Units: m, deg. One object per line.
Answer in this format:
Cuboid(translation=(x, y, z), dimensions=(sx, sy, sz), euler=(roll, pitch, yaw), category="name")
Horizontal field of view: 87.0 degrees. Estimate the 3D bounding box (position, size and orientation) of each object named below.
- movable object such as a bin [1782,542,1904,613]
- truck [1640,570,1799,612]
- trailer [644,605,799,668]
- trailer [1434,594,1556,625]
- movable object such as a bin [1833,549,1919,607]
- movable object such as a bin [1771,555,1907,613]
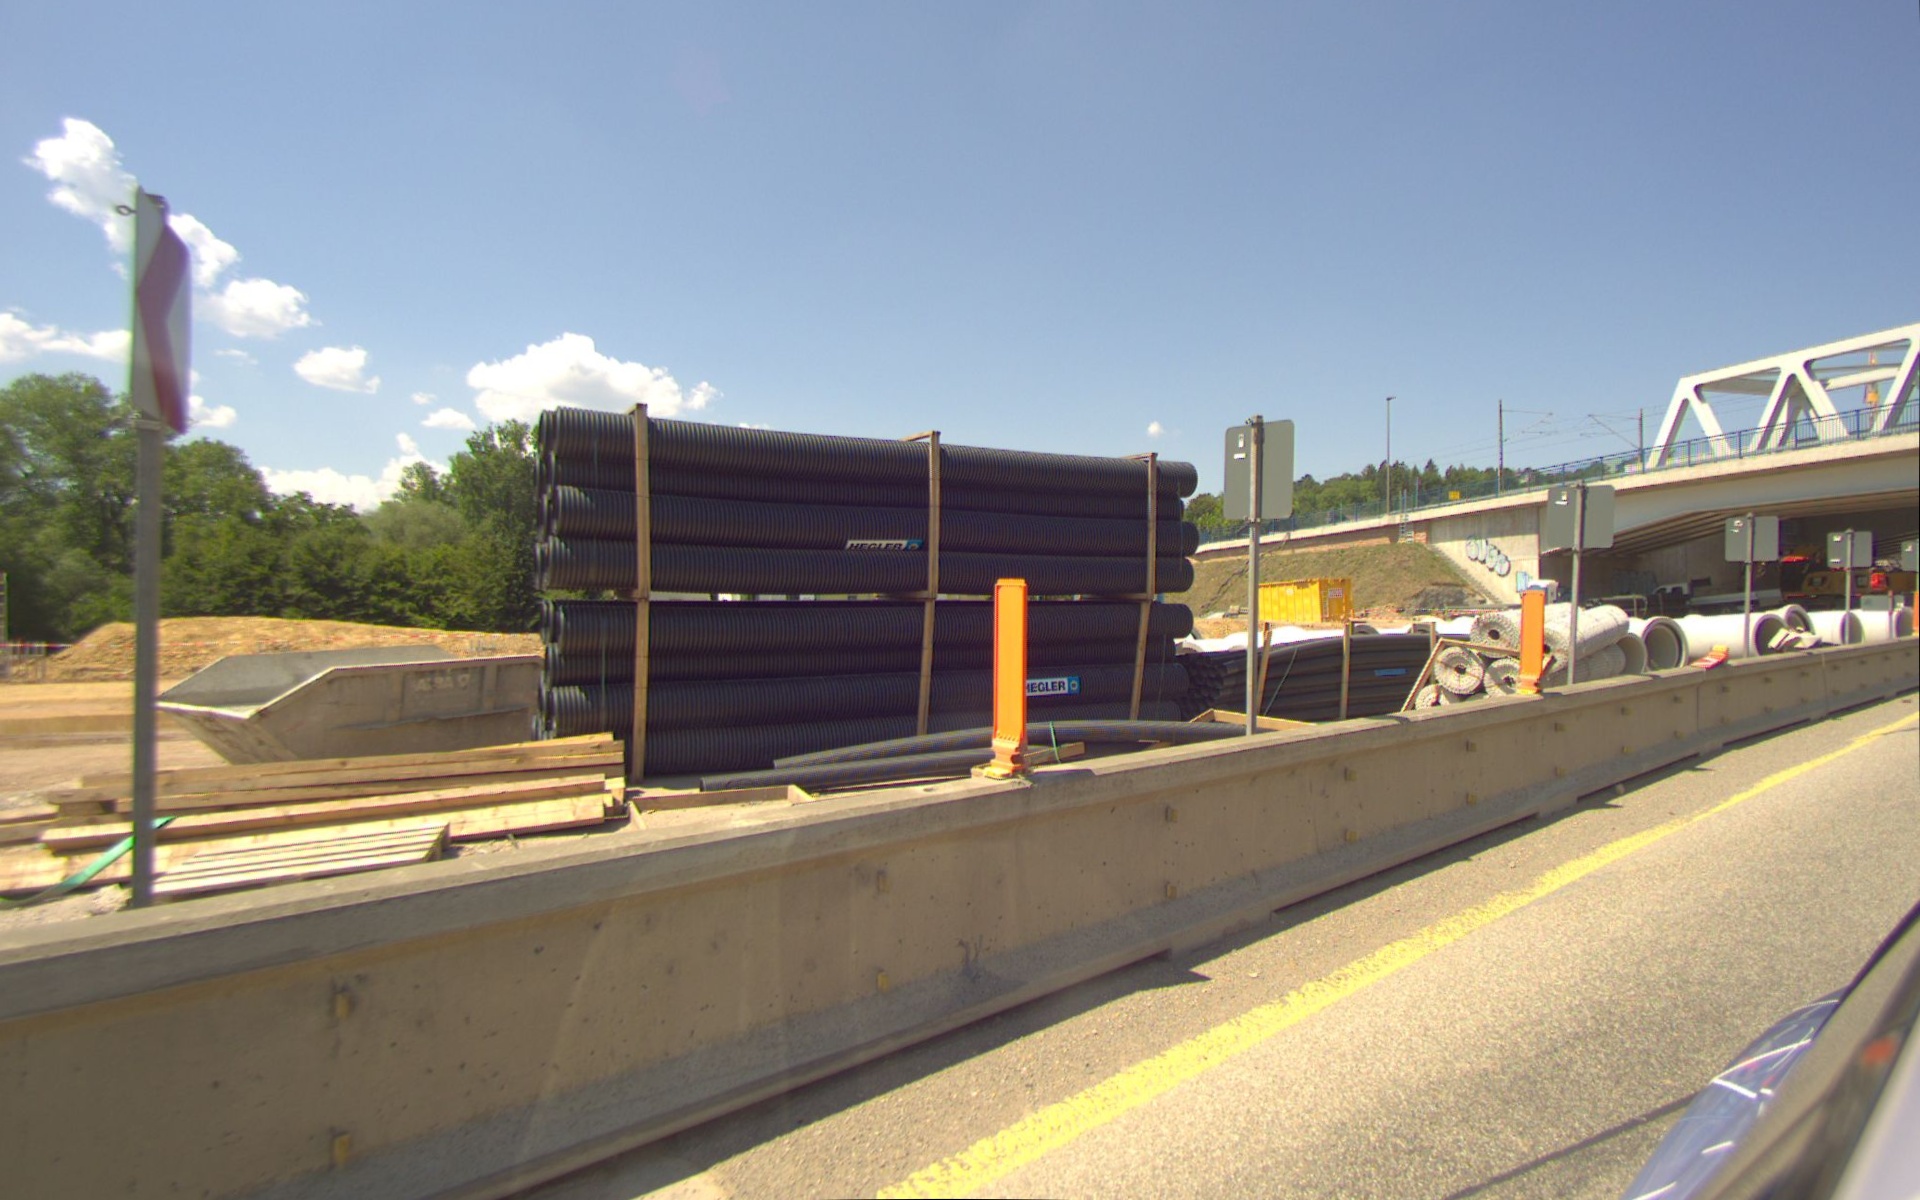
Cuboid(translation=(47.481, -1.185, 54.518), dimensions=(2.842, 3.587, 3.901), euler=(-3, 0, -16), category="movable object such as a bin")
Cuboid(translation=(41.494, -0.454, 55.555), dimensions=(2.610, 2.099, 6.554), euler=(-1, 0, -23), category="truck")
Cuboid(translation=(-6.402, 0.943, 27.228), dimensions=(3.750, 1.505, 1.630), euler=(-1, 0, -30), category="trailer")
Cuboid(translation=(24.857, 0.419, 47.247), dimensions=(2.014, 1.234, 4.736), euler=(-3, 2, -26), category="trailer")
Cuboid(translation=(56.526, -1.349, 61.335), dimensions=(2.929, 3.328, 4.576), euler=(-3, 0, -22), category="movable object such as a bin")
Cuboid(translation=(50.246, -0.859, 58.006), dimensions=(2.445, 3.094, 5.266), euler=(-3, 0, -22), category="movable object such as a bin")
